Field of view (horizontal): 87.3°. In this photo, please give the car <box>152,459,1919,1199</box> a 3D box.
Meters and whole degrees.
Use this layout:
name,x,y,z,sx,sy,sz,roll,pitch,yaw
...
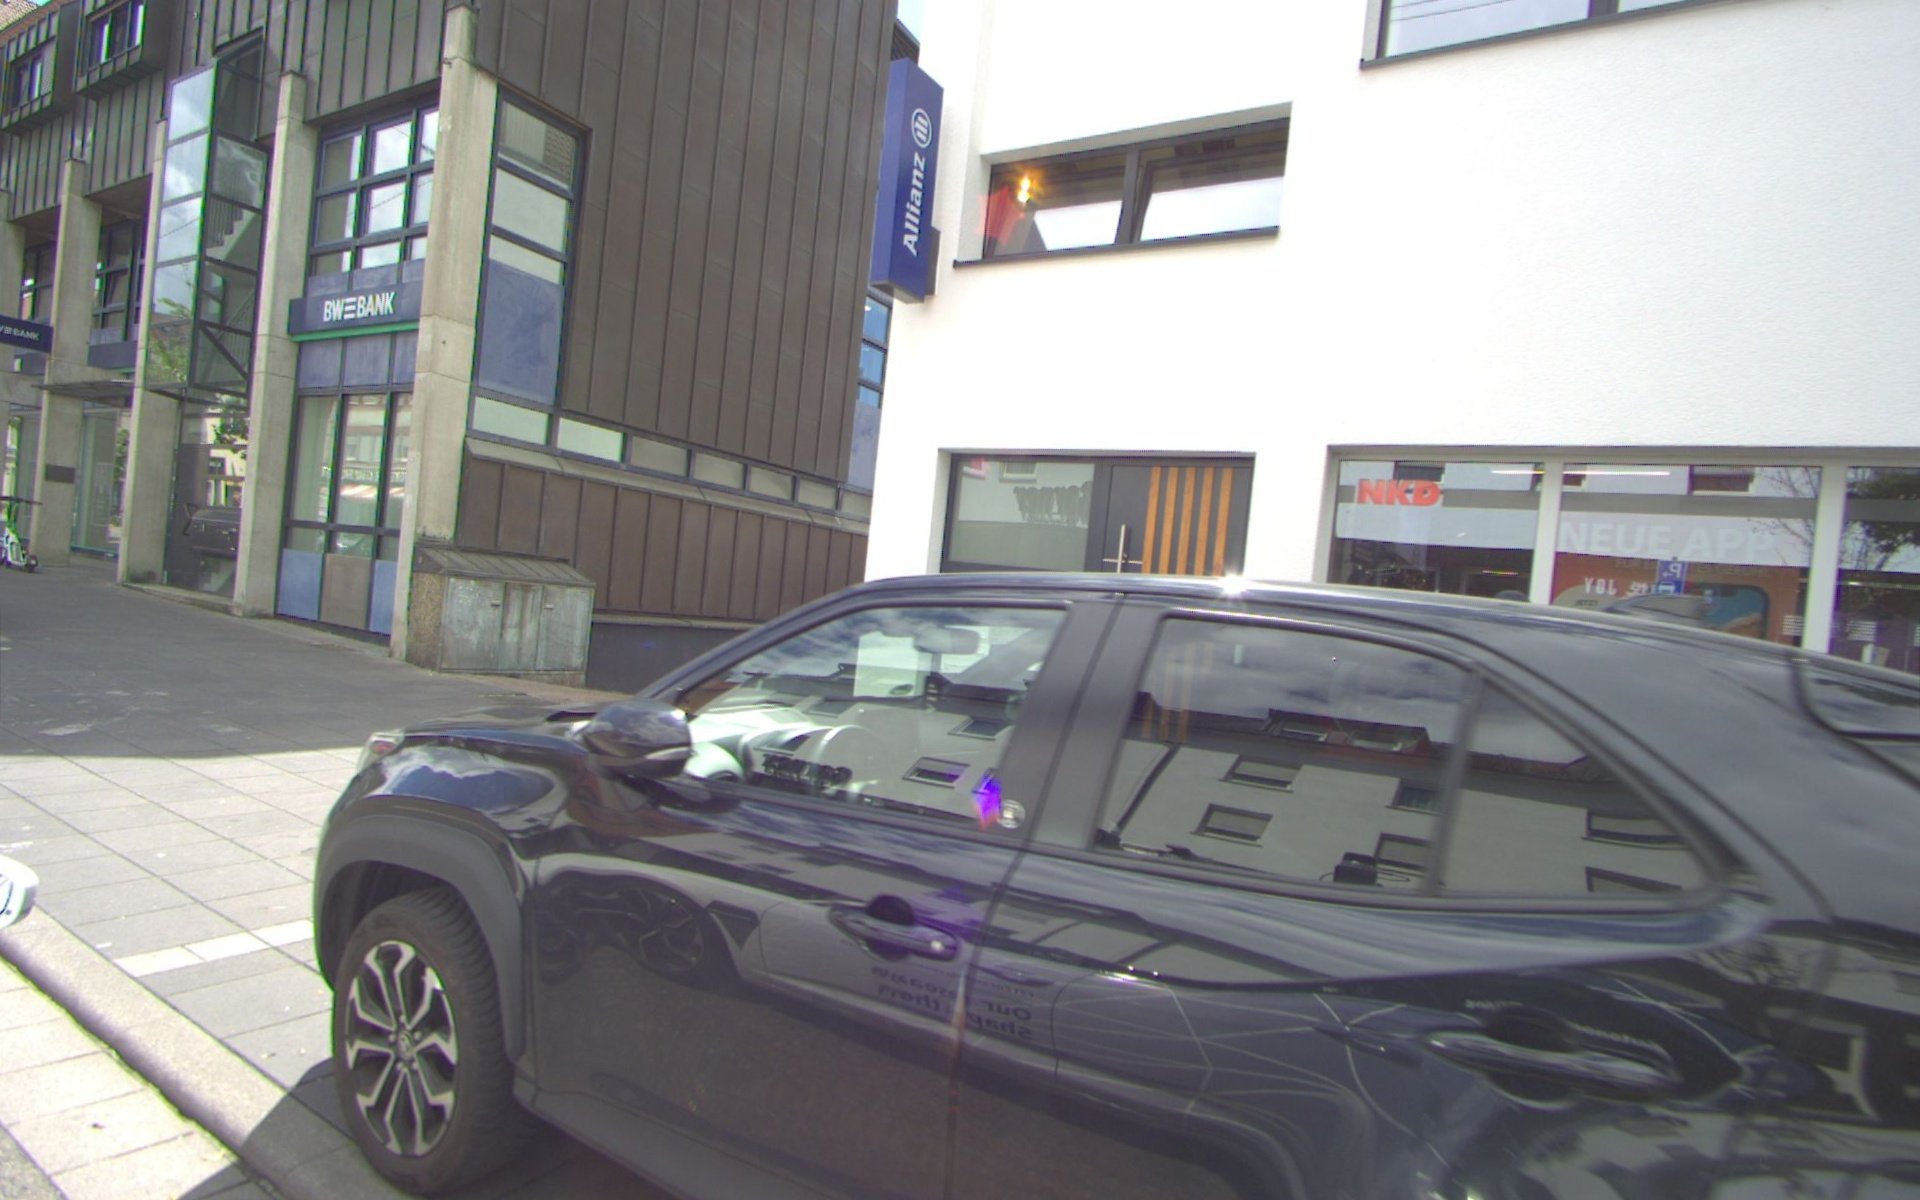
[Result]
name,x,y,z,sx,sy,sz,roll,pitch,yaw
car,0.135,0.681,2.374,4.040,1.595,1.725,6,-2,30

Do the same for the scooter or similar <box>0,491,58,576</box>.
name,x,y,z,sx,sy,sz,roll,pitch,yaw
scooter or similar,-15.223,-1.093,16.282,1.536,1.260,0.422,6,-1,32

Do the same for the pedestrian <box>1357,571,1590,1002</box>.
name,x,y,z,sx,sy,sz,roll,pitch,yaw
pedestrian,2.421,0.806,4.719,0.744,1.757,0.742,6,-1,32

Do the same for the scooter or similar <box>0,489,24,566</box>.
name,x,y,z,sx,sy,sz,roll,pitch,yaw
scooter or similar,-16.742,-1.285,17.244,1.300,1.260,0.406,6,-1,22

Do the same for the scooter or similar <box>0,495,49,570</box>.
name,x,y,z,sx,sy,sz,roll,pitch,yaw
scooter or similar,-17.395,-1.253,18.505,1.536,1.260,0.422,6,-1,32
